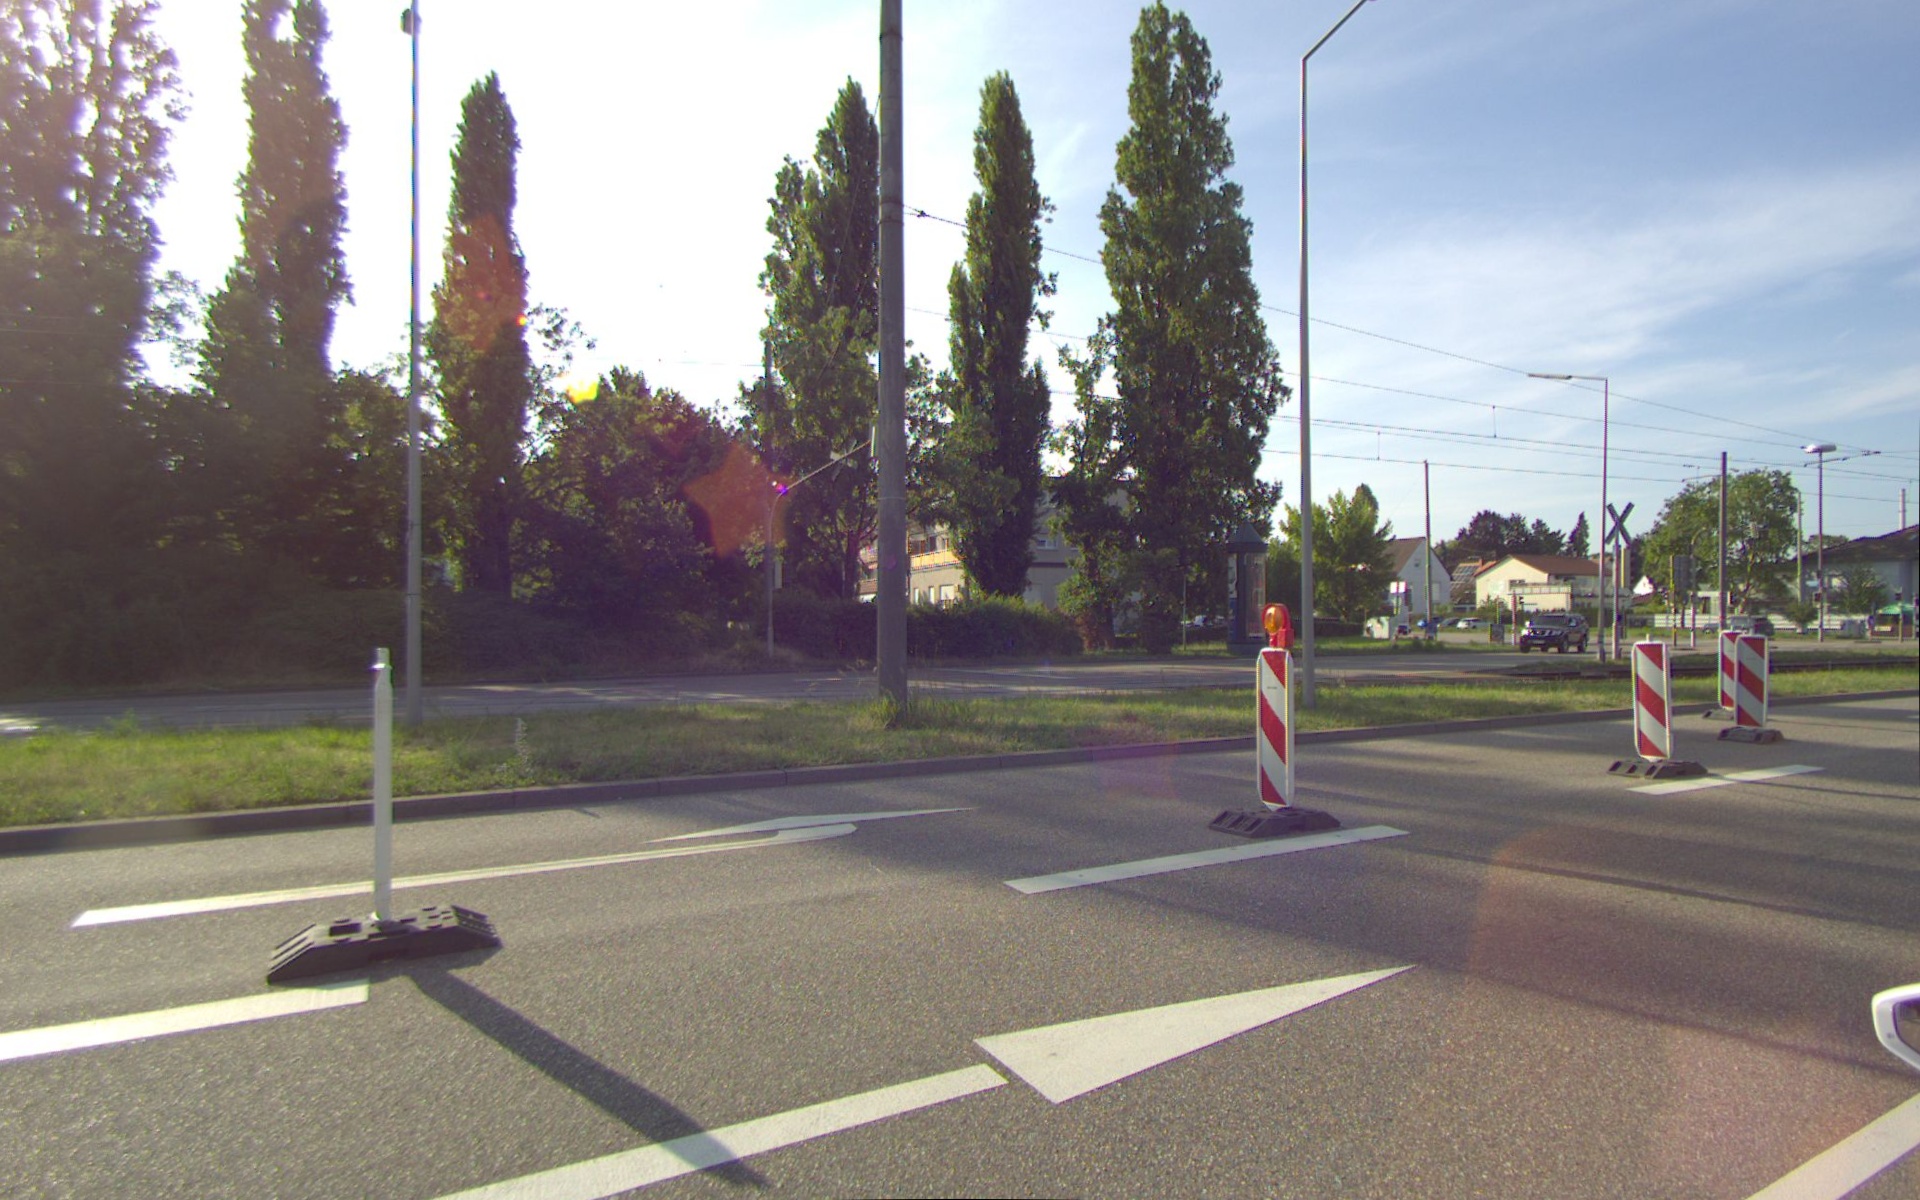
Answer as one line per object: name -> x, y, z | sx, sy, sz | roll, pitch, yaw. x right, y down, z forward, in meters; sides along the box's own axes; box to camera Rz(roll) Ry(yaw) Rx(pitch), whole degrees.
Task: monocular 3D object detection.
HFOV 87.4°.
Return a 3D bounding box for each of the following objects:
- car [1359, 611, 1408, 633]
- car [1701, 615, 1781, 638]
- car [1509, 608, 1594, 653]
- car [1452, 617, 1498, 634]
car -> 36.512, 1.888, 86.695 | 1.498, 1.816, 3.978 | 0, -1, -23
car -> 54.447, 1.831, 70.068 | 1.970, 1.506, 3.981 | 0, -1, -21
car -> 28.265, 1.408, 47.946 | 5.317, 2.040, 1.976 | 1, -1, -42
car -> 54.225, 2.674, 105.824 | 4.154, 1.706, 1.991 | 1, 0, -19
